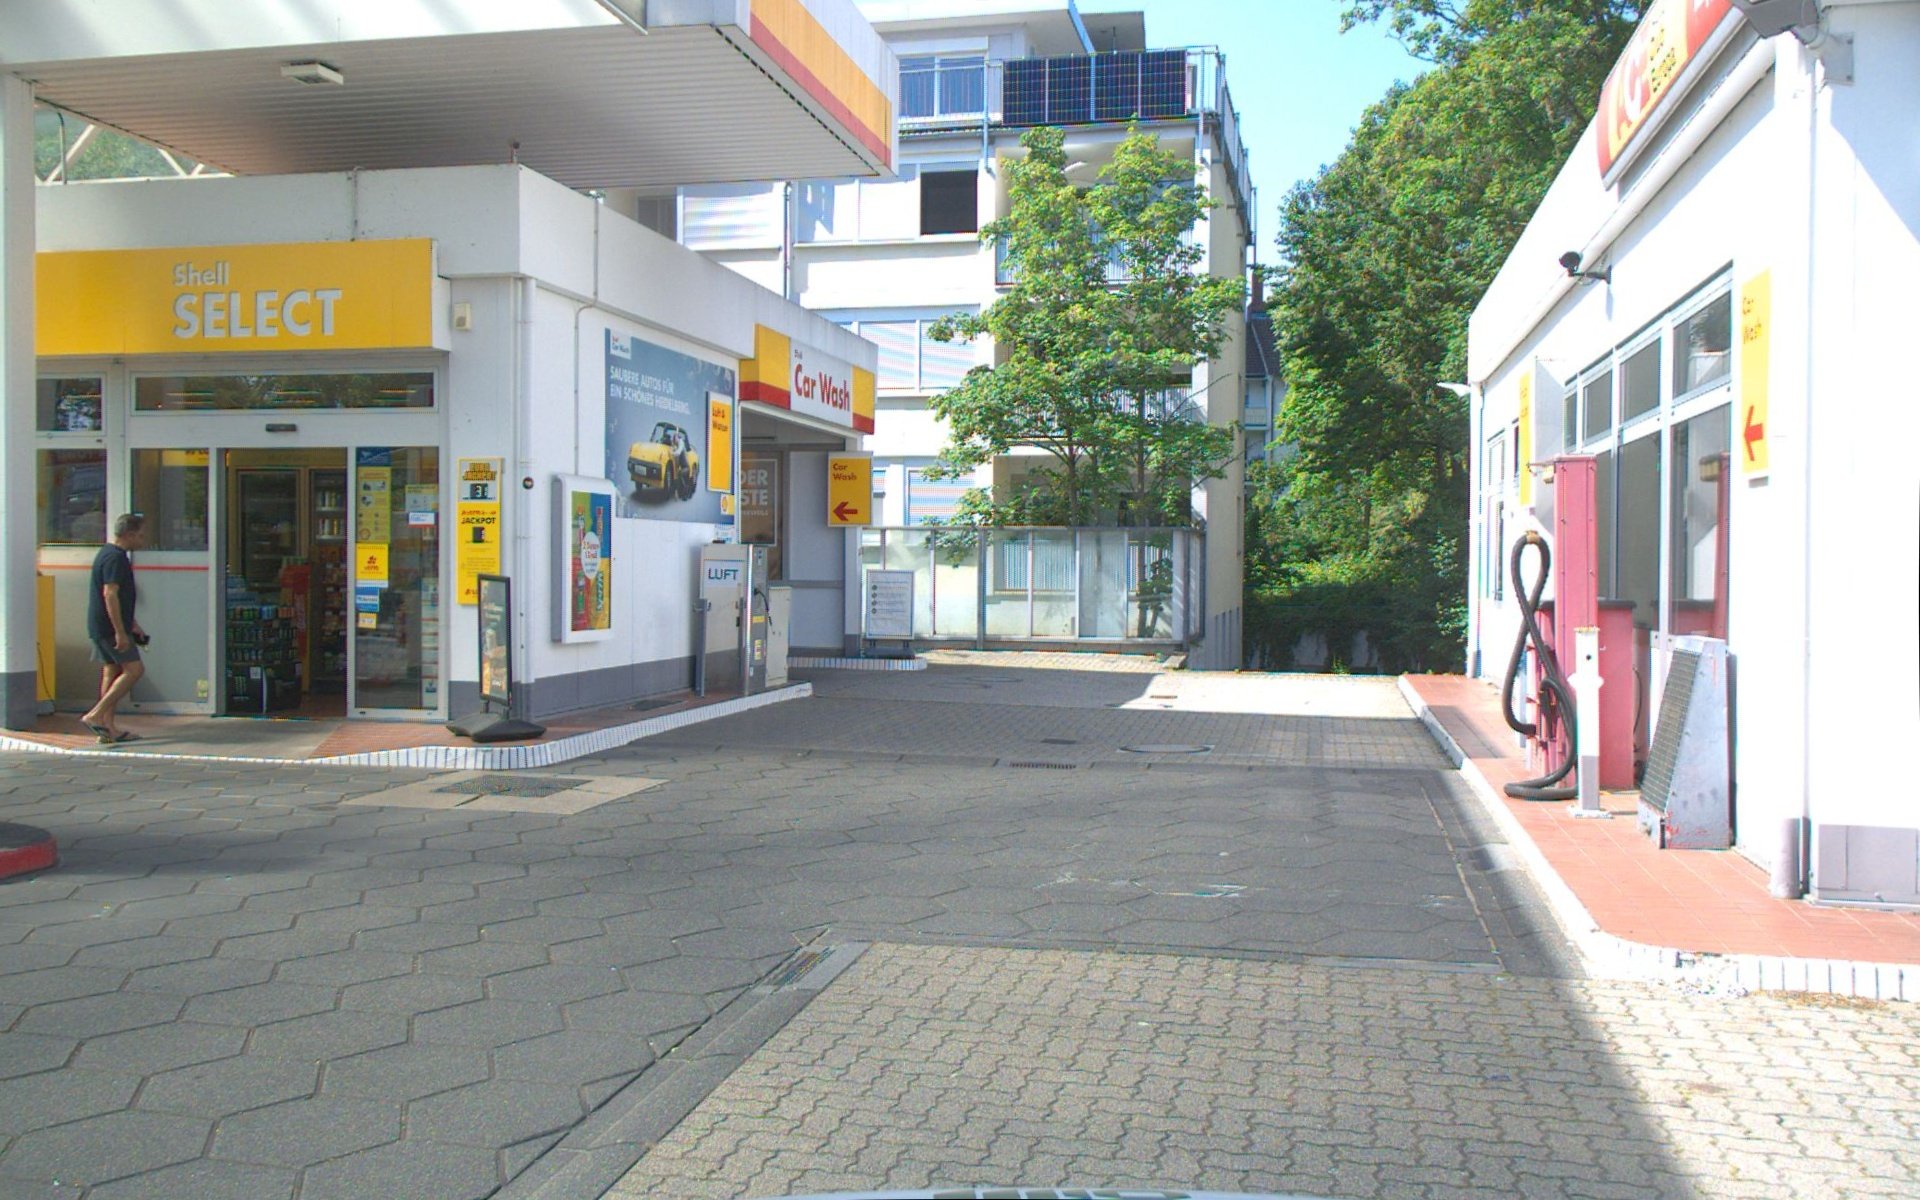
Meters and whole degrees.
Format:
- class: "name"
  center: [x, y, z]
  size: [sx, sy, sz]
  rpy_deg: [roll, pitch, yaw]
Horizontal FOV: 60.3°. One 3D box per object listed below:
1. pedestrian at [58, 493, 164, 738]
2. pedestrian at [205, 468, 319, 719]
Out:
- class: "pedestrian"
  center: [-6.358, 0.112, 12.401]
  size: [0.561, 1.792, 0.529]
  rpy_deg: [0, 1, -8]
- class: "pedestrian"
  center: [-5.858, -0.063, 13.914]
  size: [0.608, 2.048, 0.743]
  rpy_deg: [0, 1, 3]
